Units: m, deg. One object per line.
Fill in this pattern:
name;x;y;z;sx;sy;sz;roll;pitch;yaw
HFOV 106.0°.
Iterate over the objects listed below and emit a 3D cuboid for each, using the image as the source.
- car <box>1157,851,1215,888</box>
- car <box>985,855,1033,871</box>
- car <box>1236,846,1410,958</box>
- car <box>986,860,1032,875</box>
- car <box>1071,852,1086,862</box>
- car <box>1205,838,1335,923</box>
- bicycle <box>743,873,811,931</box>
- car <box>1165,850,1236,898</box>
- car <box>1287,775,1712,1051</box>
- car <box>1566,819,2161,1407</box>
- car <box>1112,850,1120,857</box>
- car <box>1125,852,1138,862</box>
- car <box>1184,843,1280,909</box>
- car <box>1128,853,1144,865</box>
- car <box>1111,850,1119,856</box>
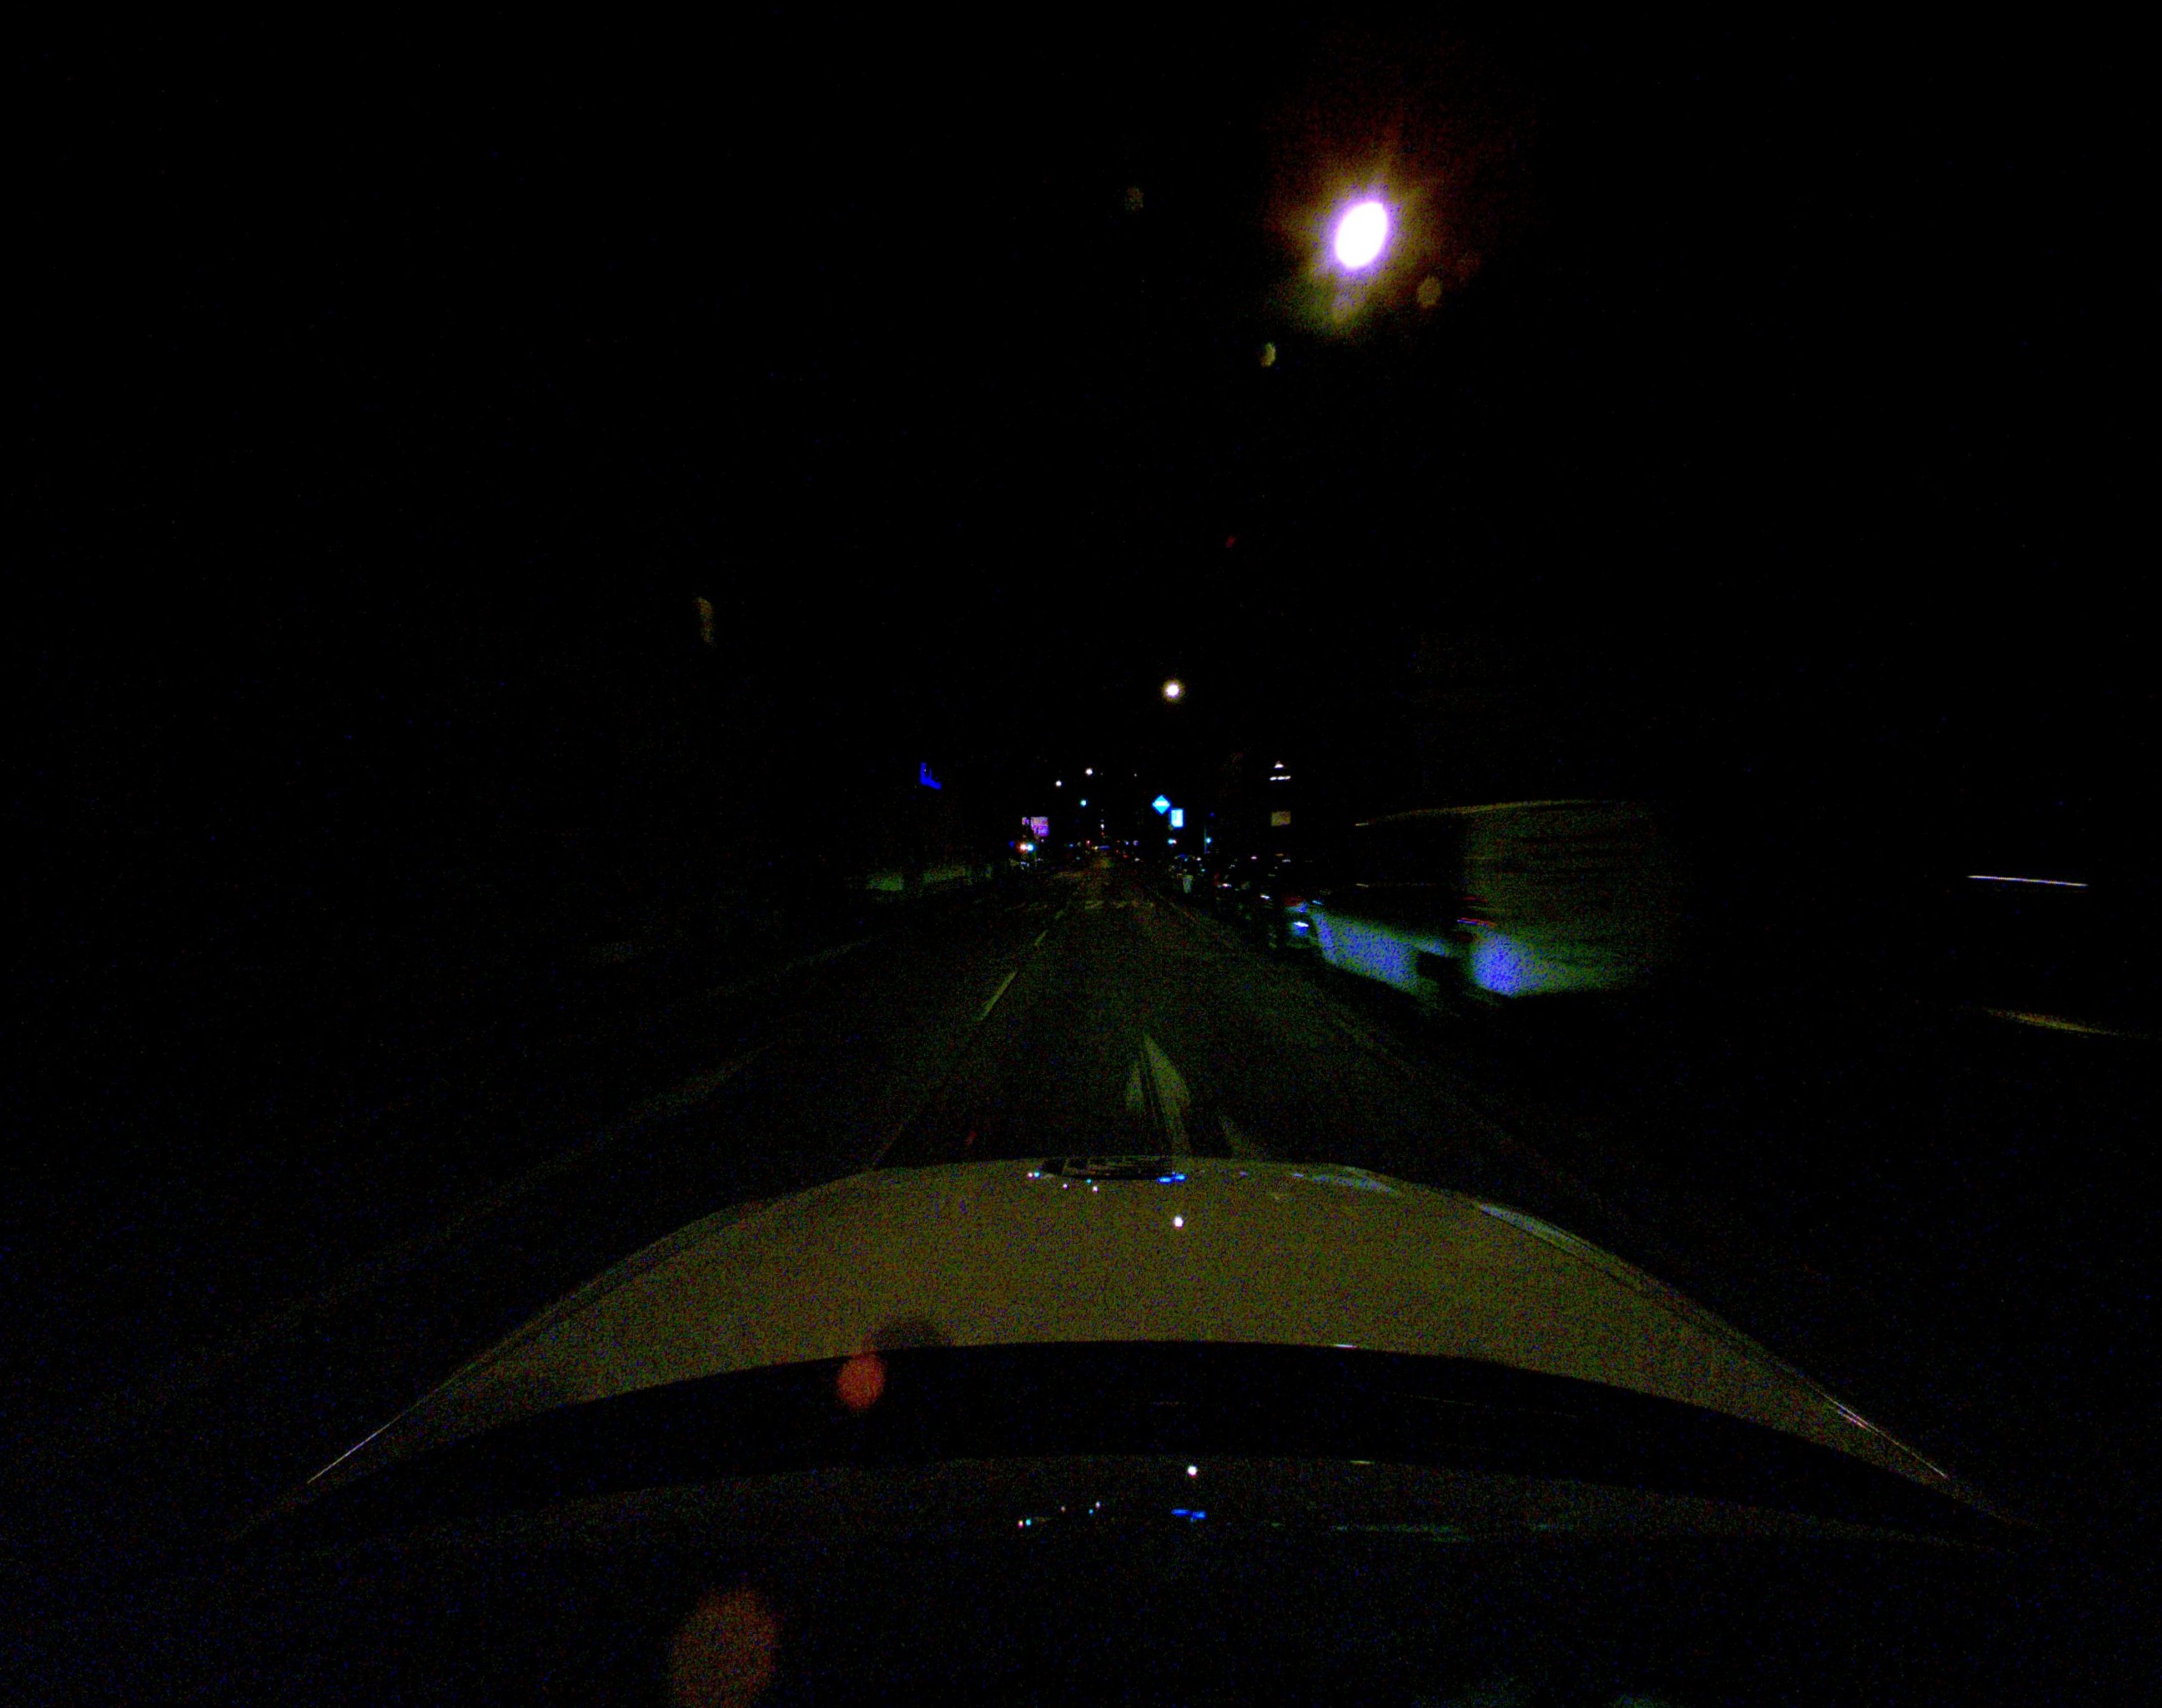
car;4.436;0.671;35.086;1.854;1.489;4.544;-1;-1;-1
car;-6.974;0.873;79.276;4.423;1.450;2.000;-1;-1;1
car;3.641;0.650;13.023;1.808;1.427;4.194;-3;0;5
car;-7.249;1.333;82.367;4.424;1.450;2.000;-1;-1;0
car;-0.371;0.455;121.487;1.986;1.502;4.001;-1;-1;2
car;4.035;0.518;18.212;1.817;1.589;4.628;-2;0;0
bicycle;-5.881;0.898;15.865;0.617;1.052;1.722;-1;-1;2
car;4.122;0.681;28.737;1.769;1.544;4.544;-1;-1;-1
car;3.589;0.430;8.197;1.794;1.875;4.774;-3;0;1
car;3.508;0.646;2.697;1.589;1.467;3.893;-1;-1;2
car;8.566;-0.141;199.121;1.985;1.520;4.003;-1;-1;3
car;7.818;0.506;126.841;1.985;1.520;4.003;-1;-1;3
car;4.150;0.572;23.118;1.818;1.623;4.456;-2;0;0
car;6.906;0.582;102.947;1.985;1.516;4.003;0;0;3
car;9.231;-0.263;221.995;1.985;1.520;4.003;-1;-1;3
